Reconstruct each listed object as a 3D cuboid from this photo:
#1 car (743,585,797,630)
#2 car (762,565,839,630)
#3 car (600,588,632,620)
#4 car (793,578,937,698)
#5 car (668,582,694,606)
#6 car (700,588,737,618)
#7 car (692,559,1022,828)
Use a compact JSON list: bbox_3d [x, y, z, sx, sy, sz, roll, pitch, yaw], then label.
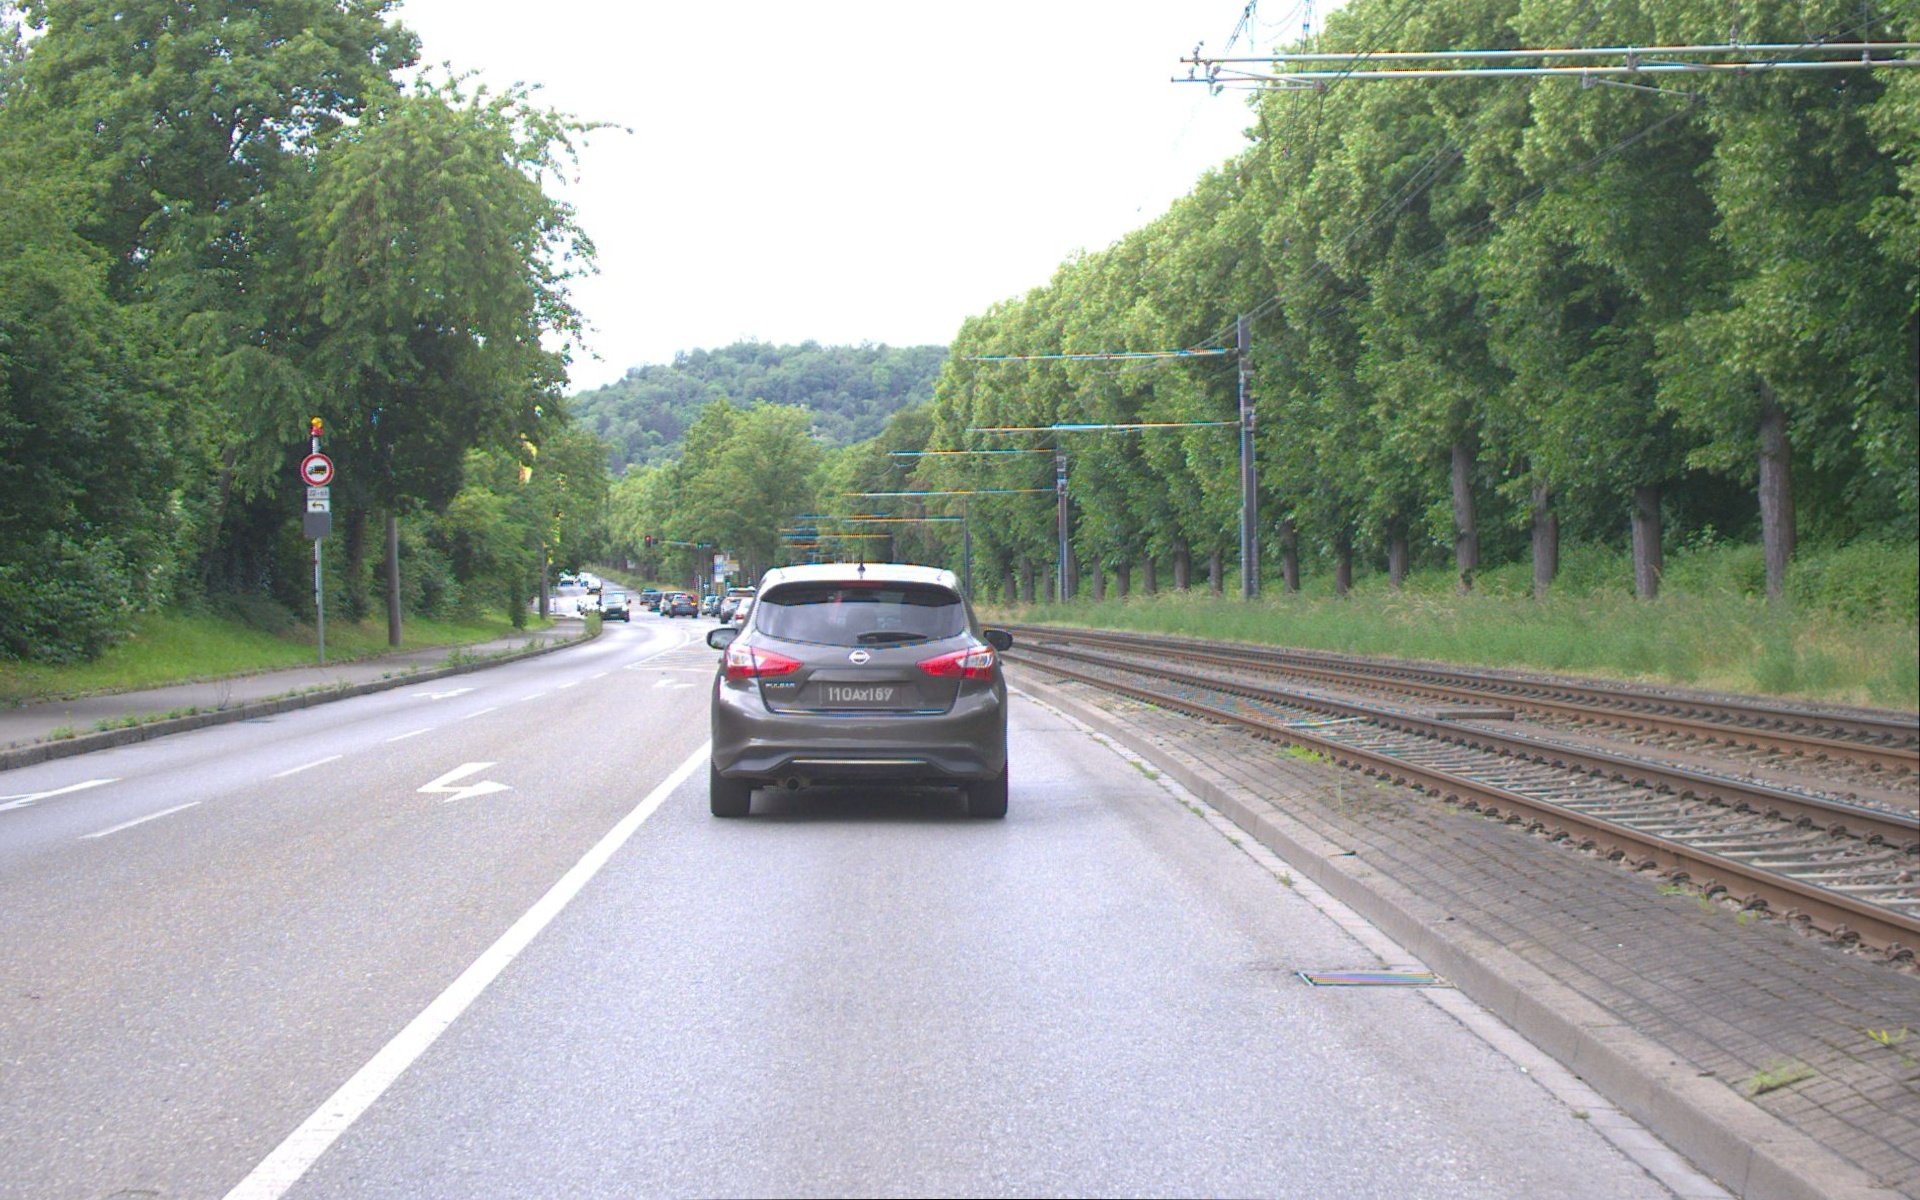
[{"bbox_3d":[-6.153,0.253,111.727,1.699,1.439,4.000,0,0,-2],"label":"car"},{"bbox_3d":[-3.601,-0.049,78.041,1.699,1.439,4.000,0,0,-2],"label":"car"},{"bbox_3d":[-22.592,0.256,226.141,1.993,2.029,5.116,-1,0,-5],"label":"car"},{"bbox_3d":[-1.231,0.456,43.232,1.699,1.439,4.000,0,0,-3],"label":"car"},{"bbox_3d":[-19.843,-0.408,244.806,1.699,1.708,4.000,0,0,-2],"label":"car"},{"bbox_3d":[-12.385,0.143,176.473,1.794,1.505,4.000,0,0,-2],"label":"car"},{"bbox_3d":[-0.618,0.508,21.605,1.850,1.488,4.000,1,1,-1],"label":"car"}]
